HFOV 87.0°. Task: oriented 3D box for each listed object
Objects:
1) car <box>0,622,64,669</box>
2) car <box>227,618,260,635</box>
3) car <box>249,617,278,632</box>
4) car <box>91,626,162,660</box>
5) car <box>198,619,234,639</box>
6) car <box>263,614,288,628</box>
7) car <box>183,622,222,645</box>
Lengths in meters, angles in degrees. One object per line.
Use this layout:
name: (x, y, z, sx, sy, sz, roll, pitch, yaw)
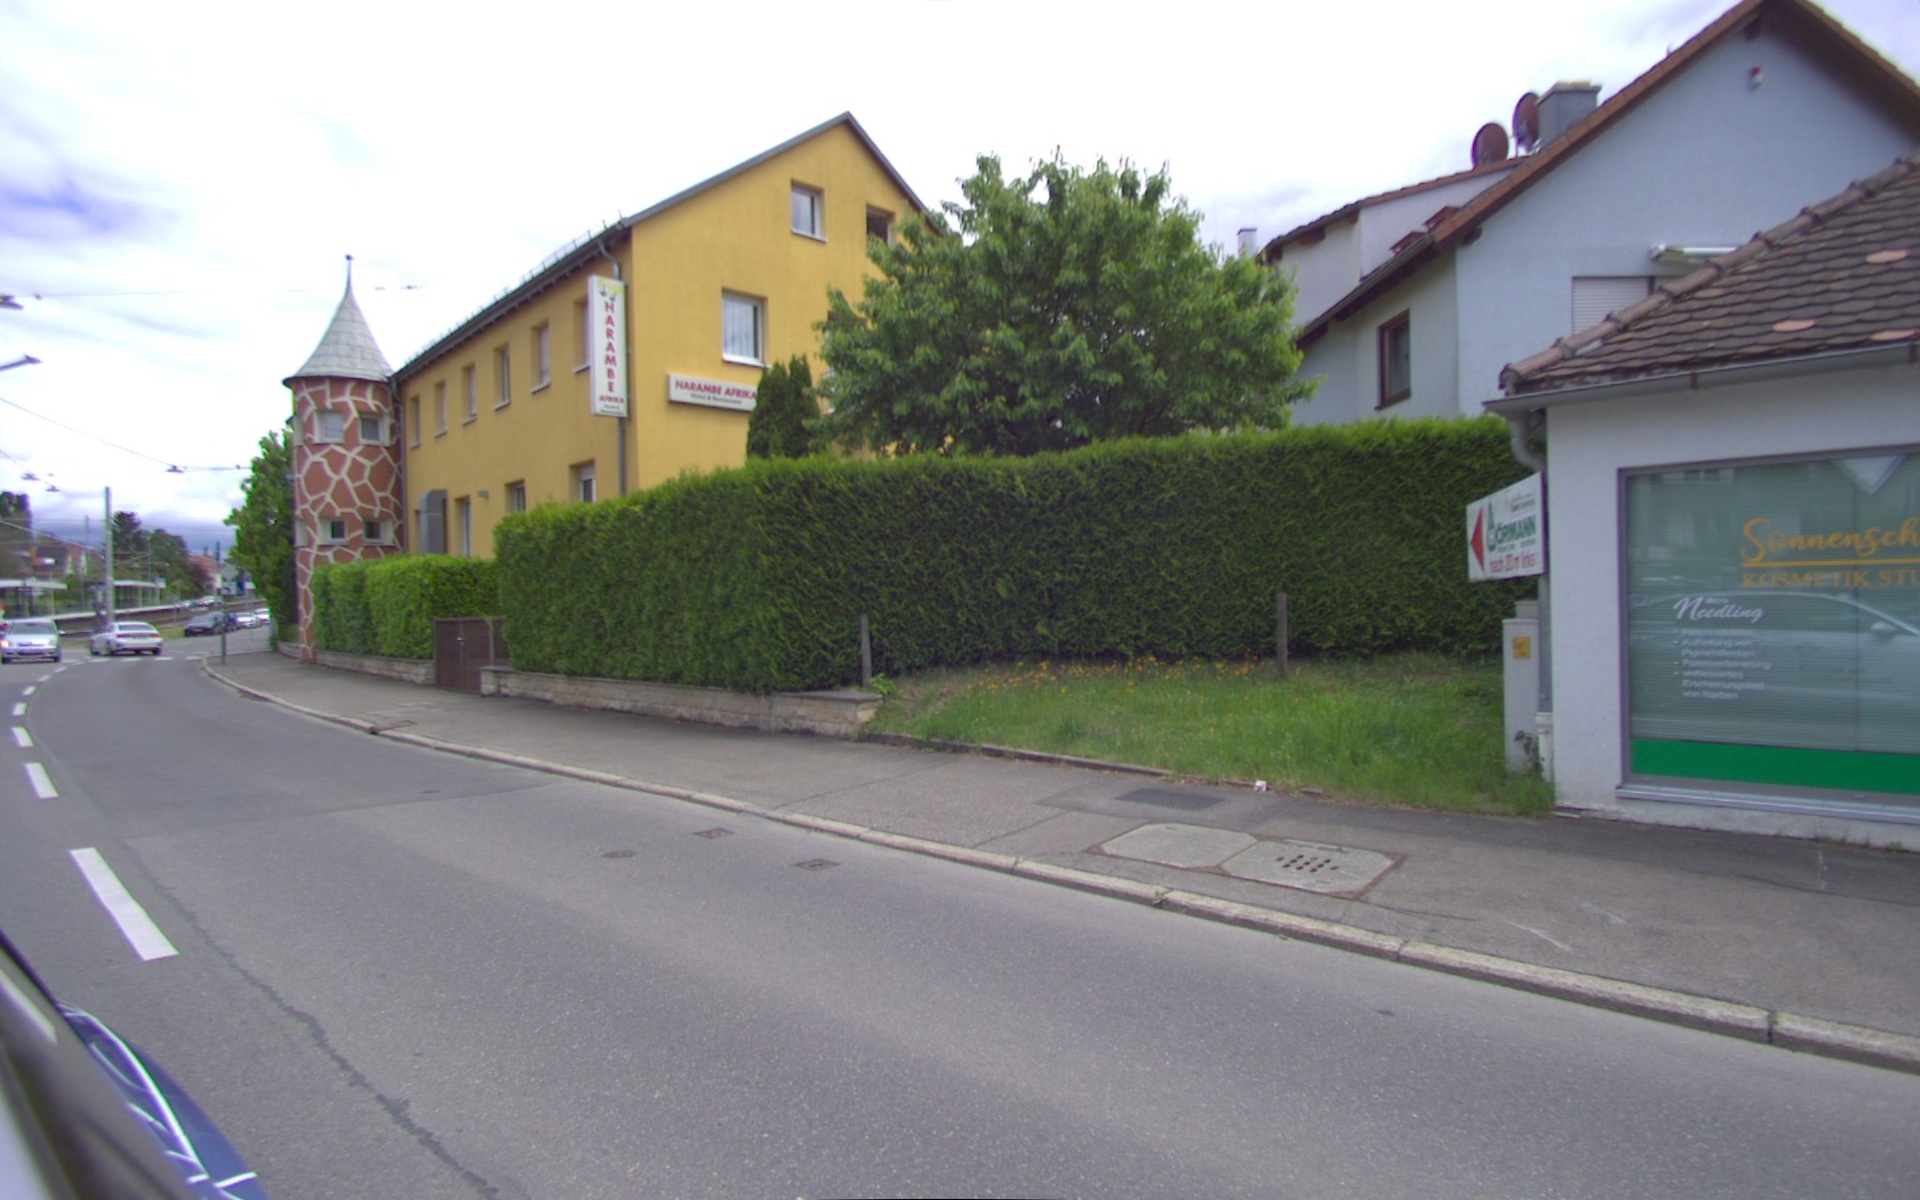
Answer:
car: (-34.396, 1.659, 37.426, 1.702, 1.580, 3.930, -2, 0, -44)
car: (-63.436, 2.343, 89.670, 1.823, 1.386, 4.013, -2, 0, -28)
car: (-68.459, 2.363, 99.532, 1.823, 1.386, 4.013, -2, 0, -28)
car: (-36.765, 1.858, 44.590, 4.463, 1.430, 1.799, -1, -3, 43)
car: (-58.739, 2.269, 79.926, 1.791, 1.513, 4.132, -2, 0, -30)
car: (-74.124, 2.285, 109.659, 1.823, 1.386, 4.013, -2, 0, -28)
car: (-55.618, 2.454, 74.385, 1.791, 1.513, 4.132, -2, 0, -30)
